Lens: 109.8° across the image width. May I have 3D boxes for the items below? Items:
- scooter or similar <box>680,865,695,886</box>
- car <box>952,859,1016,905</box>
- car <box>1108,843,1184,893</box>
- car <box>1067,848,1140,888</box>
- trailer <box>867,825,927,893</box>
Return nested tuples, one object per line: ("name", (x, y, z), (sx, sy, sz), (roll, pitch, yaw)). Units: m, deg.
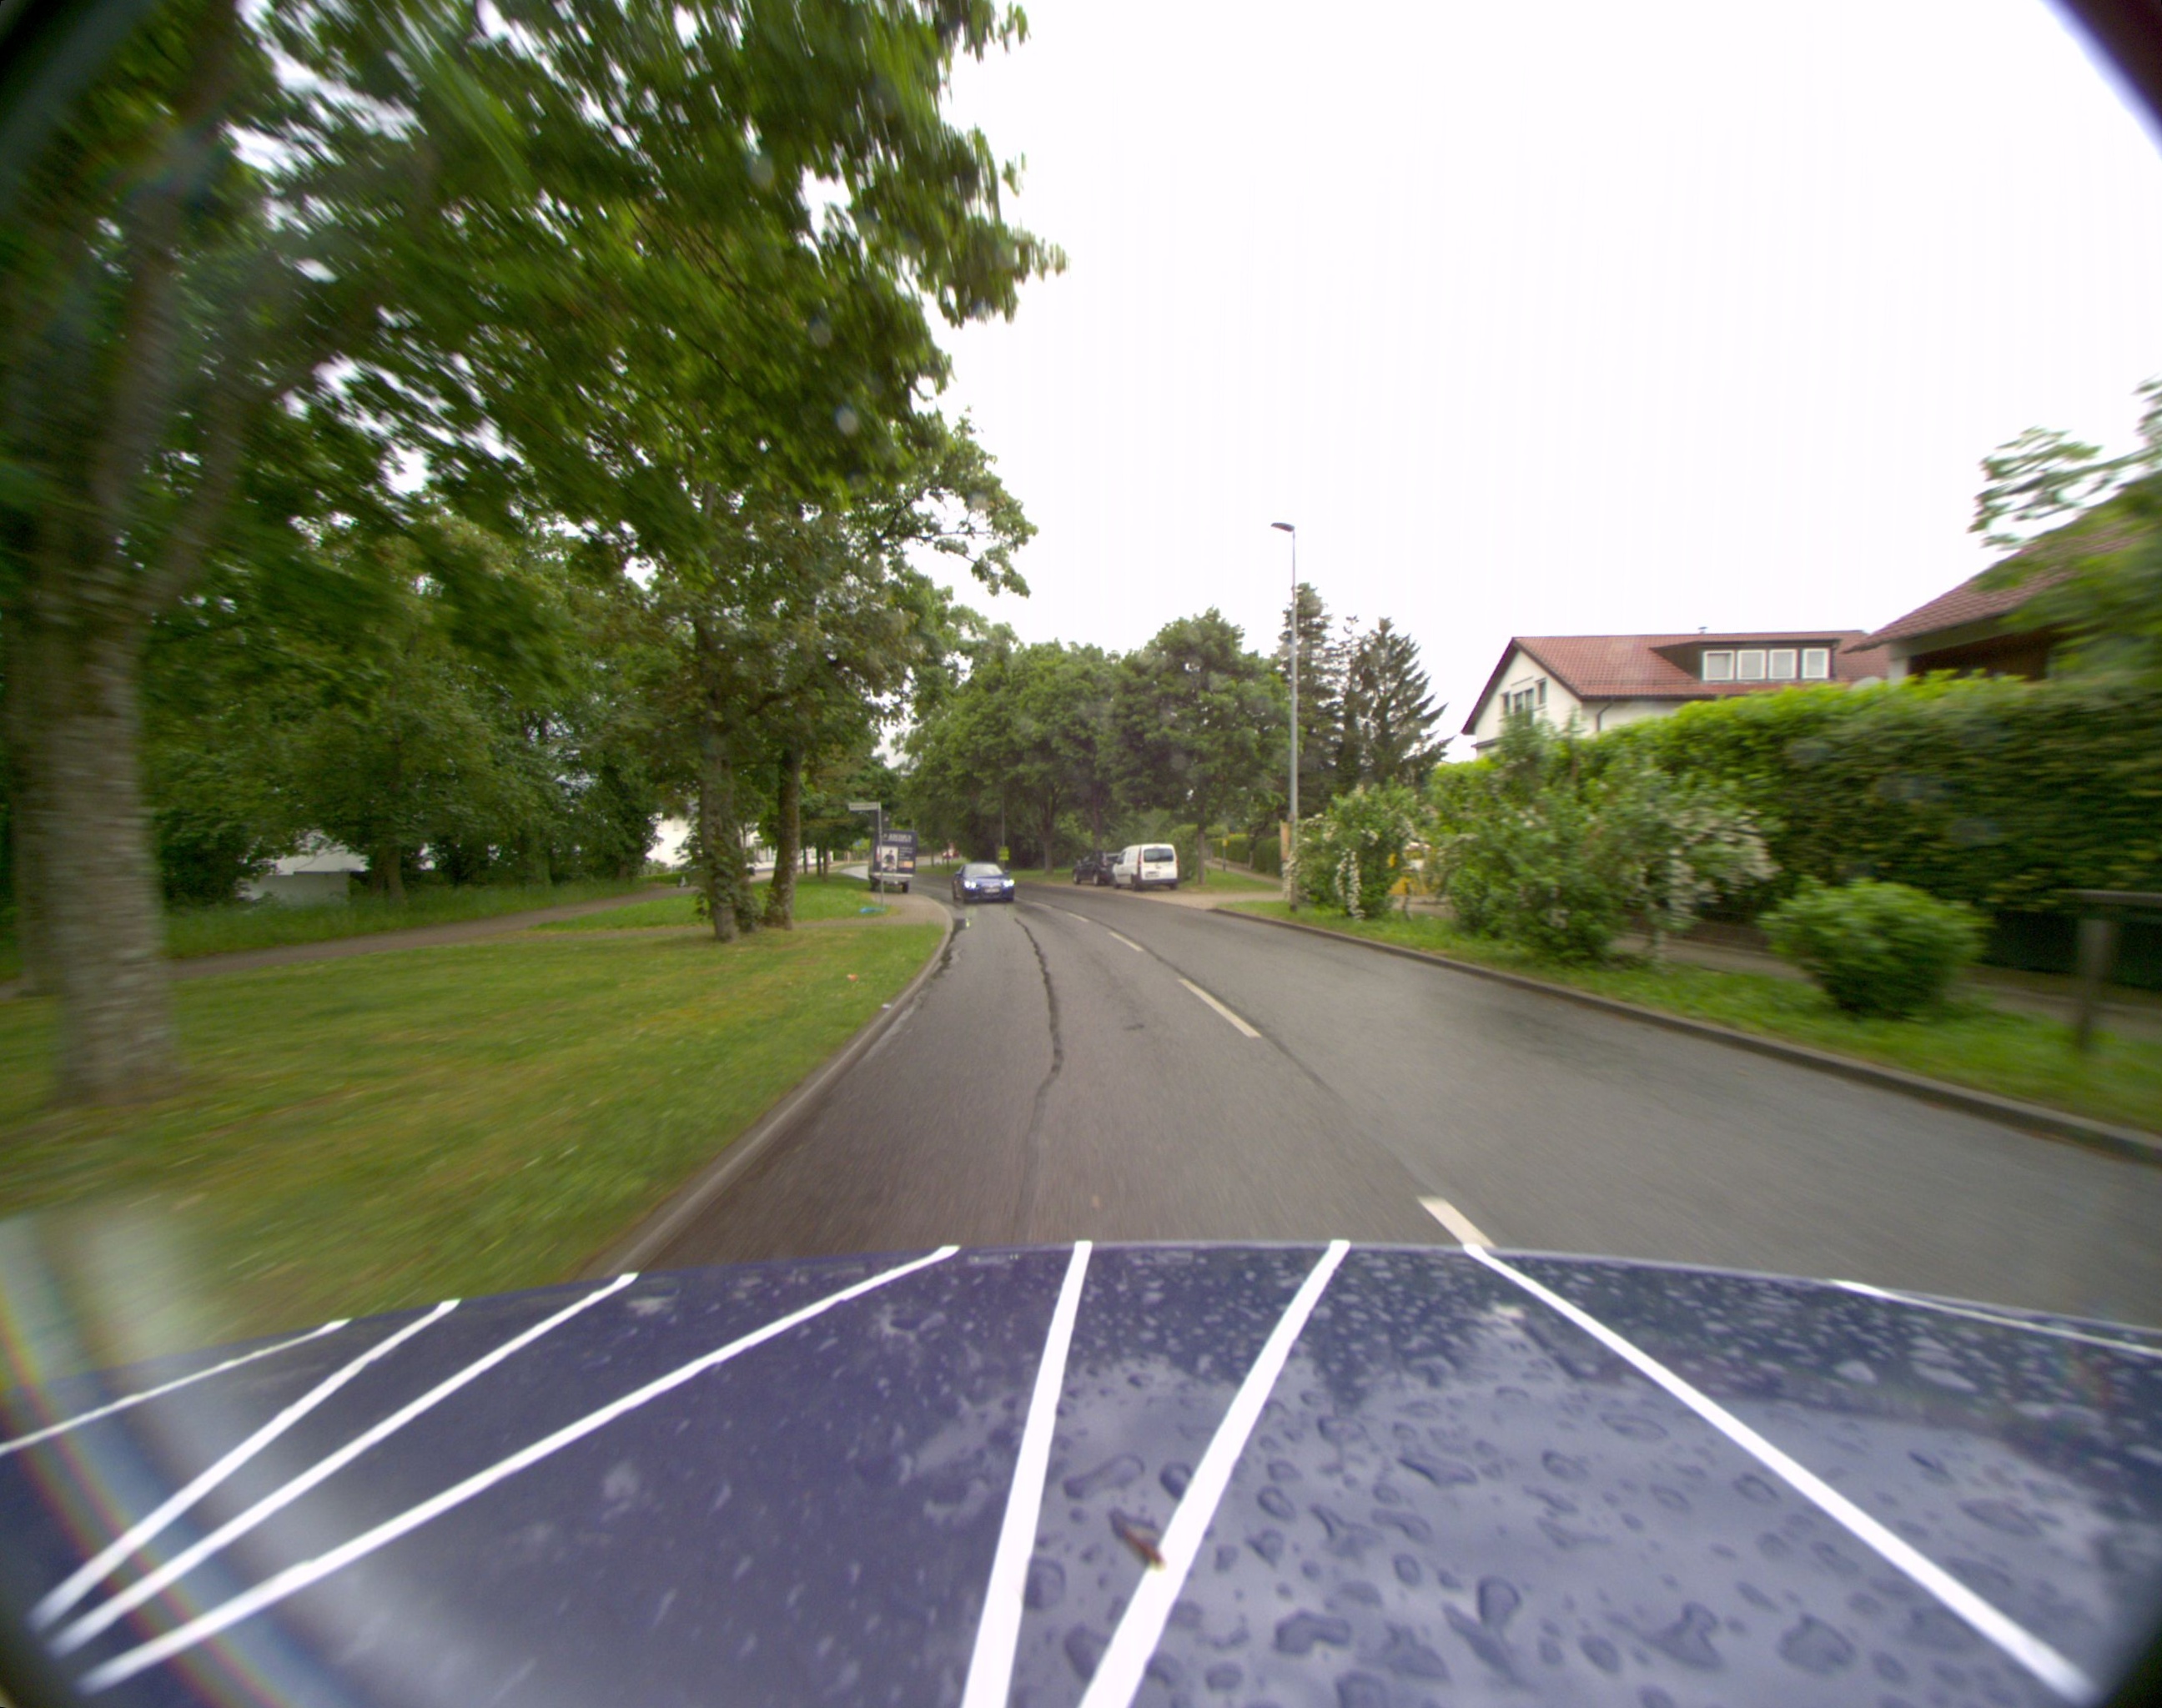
("scooter or similar", (-22.016, 1.180, 42.570), (0.465, 1.140, 1.299), (0, 1, -15))
("car", (-3.699, 0.994, 28.550), (1.817, 1.460, 3.969), (-3, 1, -15))
("car", (2.553, 0.519, 30.826), (1.805, 1.785, 4.367), (-3, 1, -12))
("car", (0.989, 0.593, 35.831), (1.757, 1.631, 4.583), (-4, 2, -20))
("trailer", (-8.606, 0.225, 35.161), (2.002, 2.791, 5.599), (4, -1, -19))
